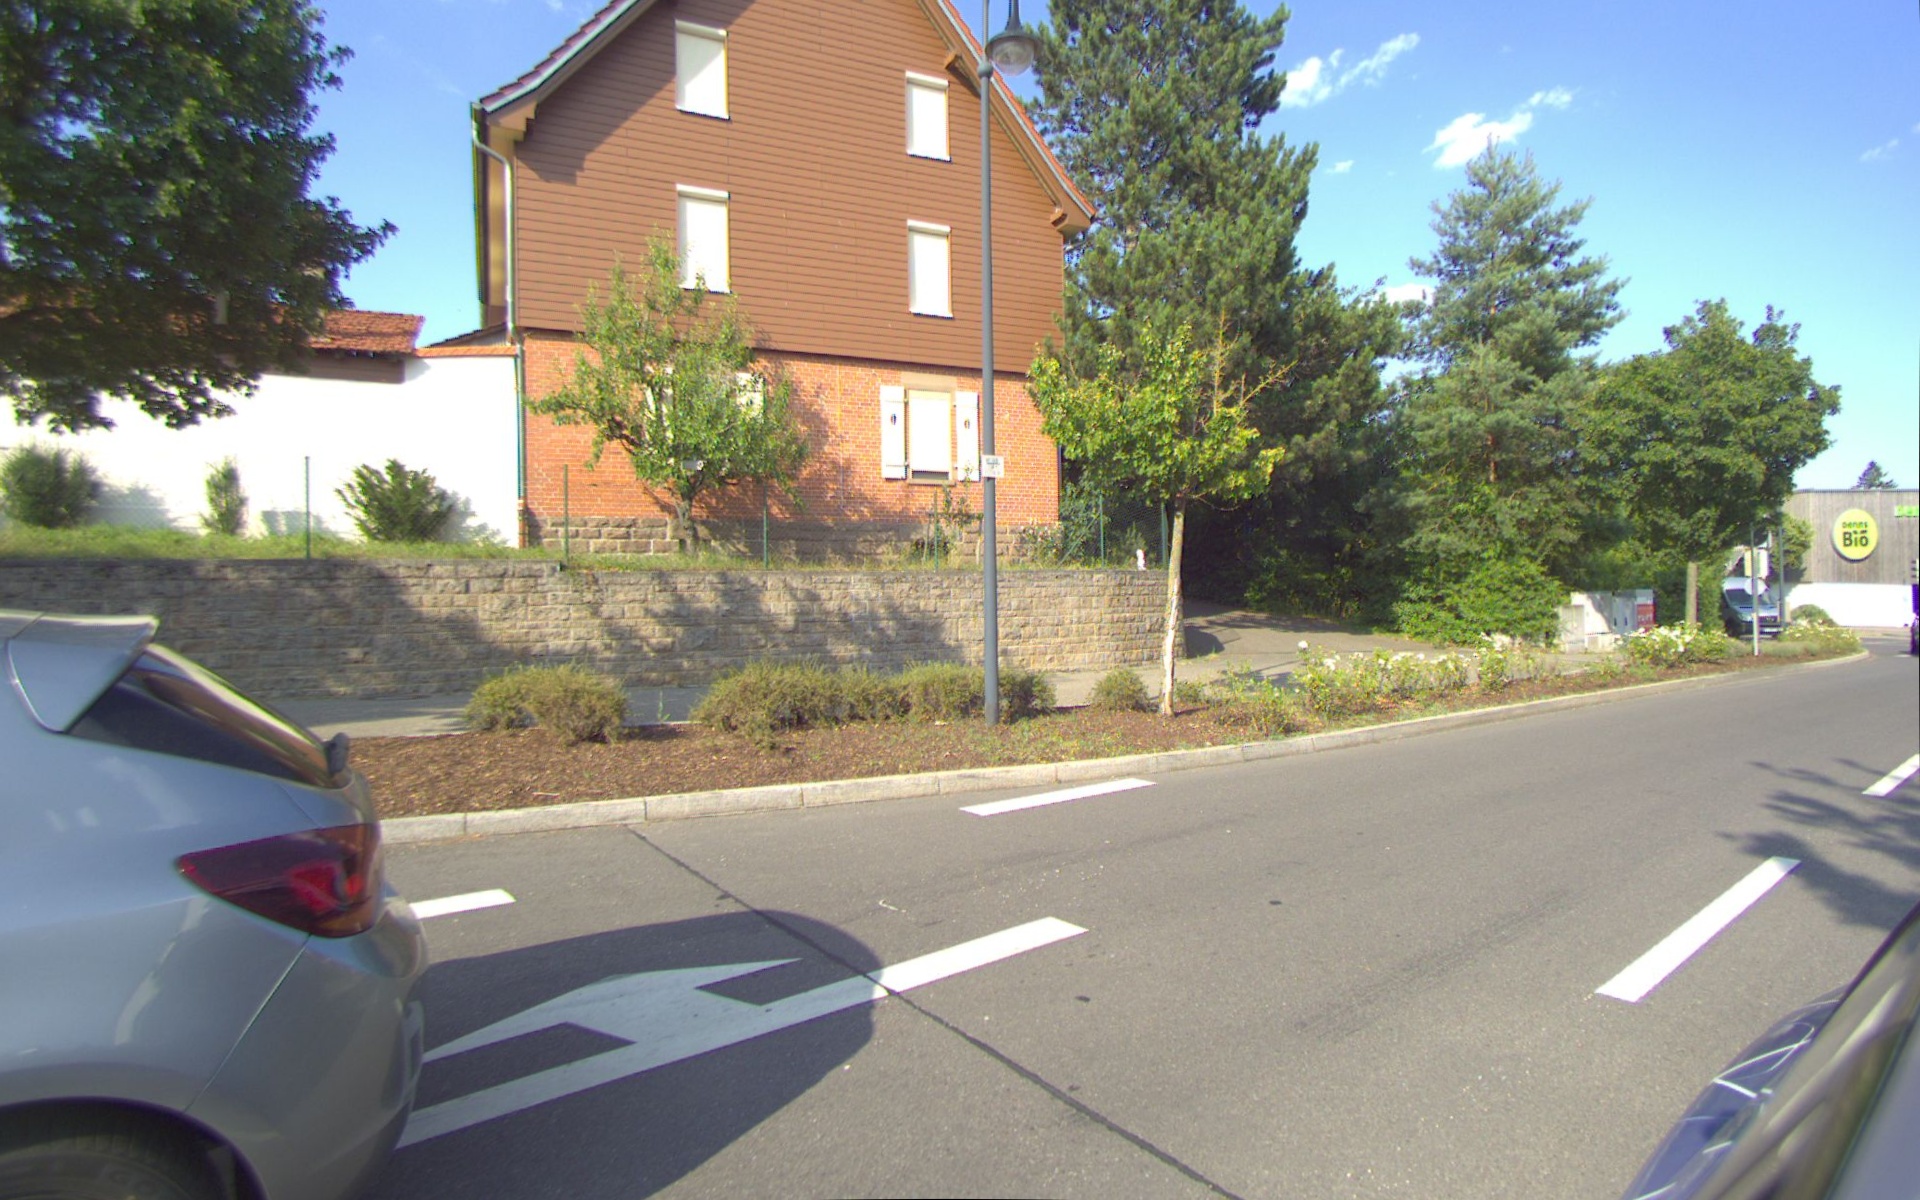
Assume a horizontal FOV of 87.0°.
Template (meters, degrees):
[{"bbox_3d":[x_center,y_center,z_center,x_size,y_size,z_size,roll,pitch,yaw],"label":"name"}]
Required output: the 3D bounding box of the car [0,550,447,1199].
[{"bbox_3d":[-3.083,0.669,1.257,4.093,1.460,1.747,-1,1,-40],"label":"car"}]

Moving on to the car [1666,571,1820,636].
[{"bbox_3d":[33.168,0.089,43.195,2.332,2.579,6.181,0,1,7],"label":"car"}]
